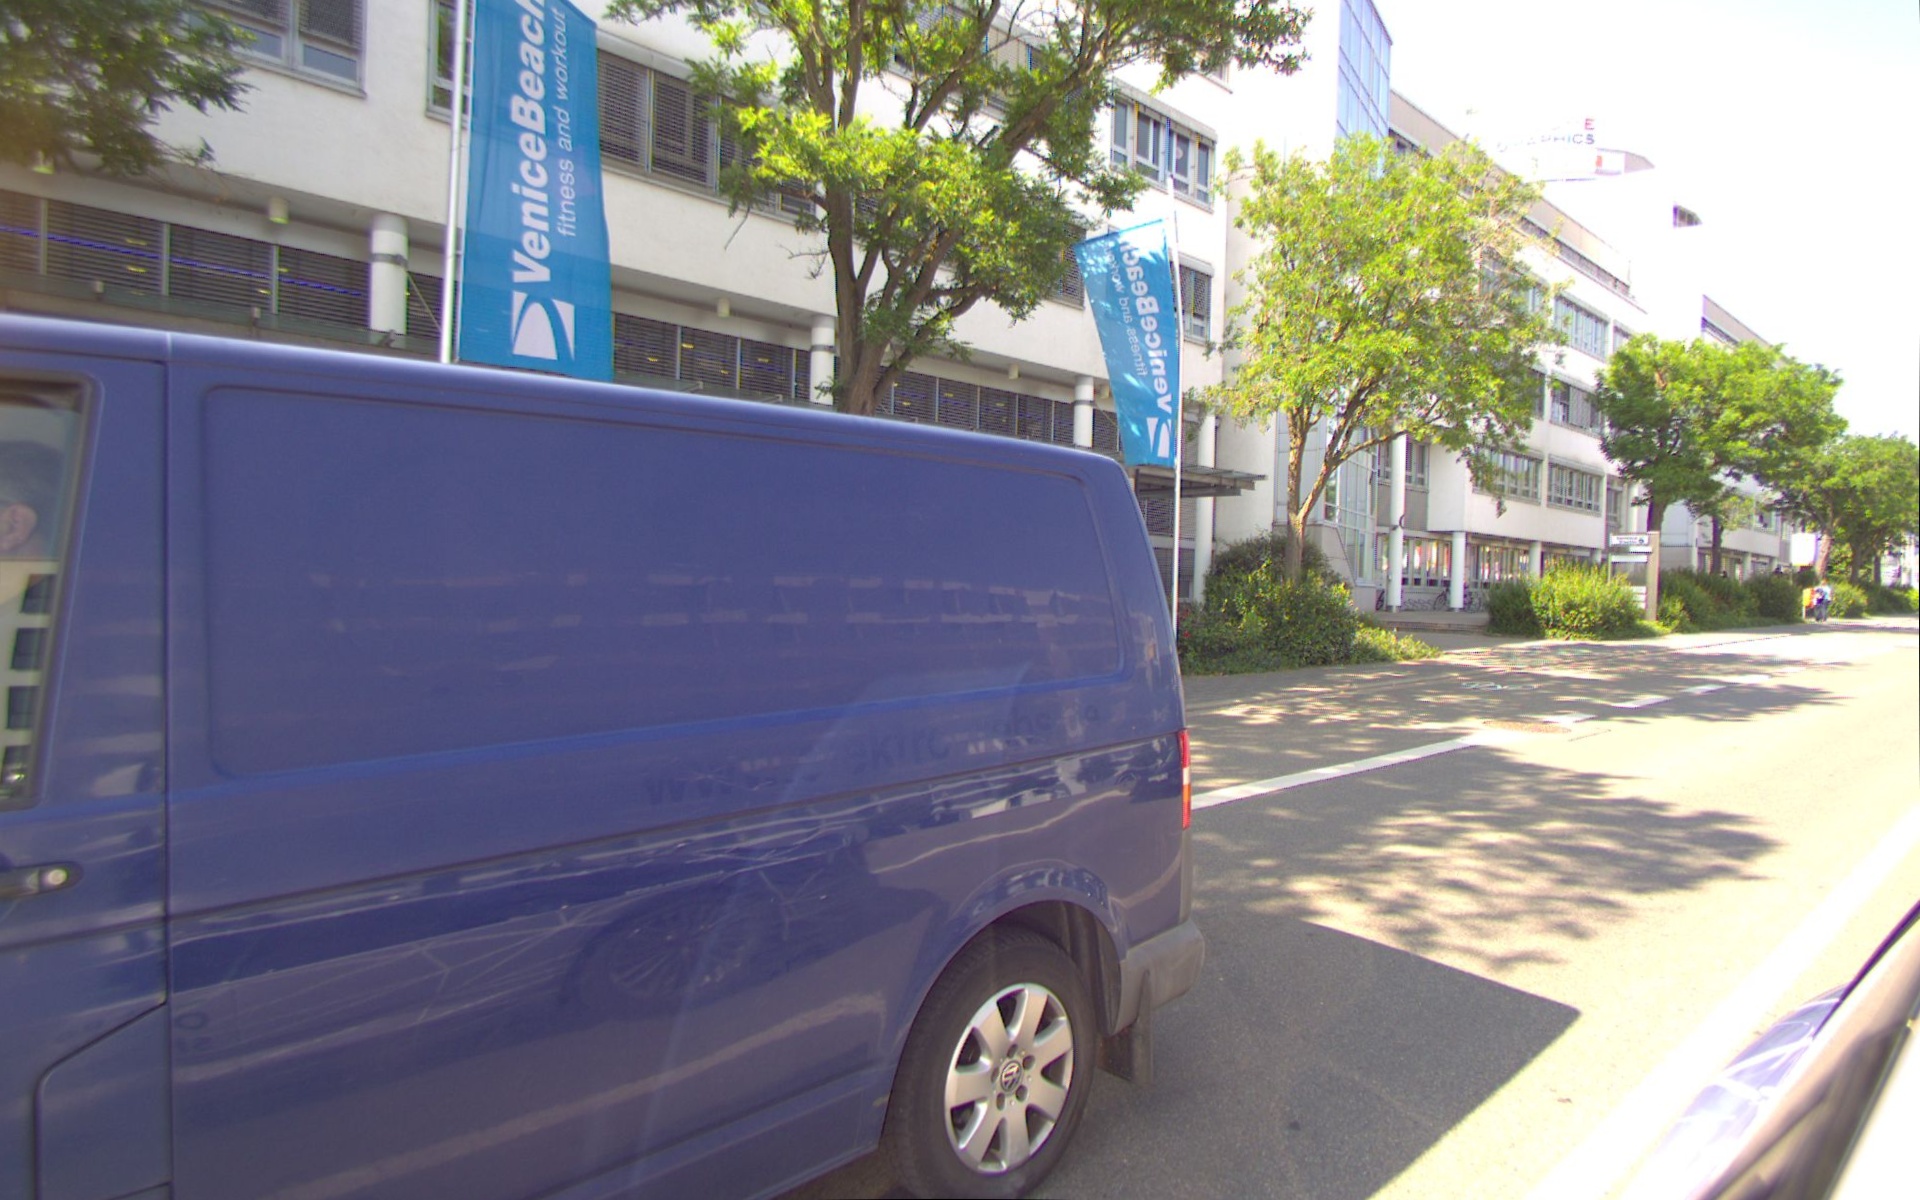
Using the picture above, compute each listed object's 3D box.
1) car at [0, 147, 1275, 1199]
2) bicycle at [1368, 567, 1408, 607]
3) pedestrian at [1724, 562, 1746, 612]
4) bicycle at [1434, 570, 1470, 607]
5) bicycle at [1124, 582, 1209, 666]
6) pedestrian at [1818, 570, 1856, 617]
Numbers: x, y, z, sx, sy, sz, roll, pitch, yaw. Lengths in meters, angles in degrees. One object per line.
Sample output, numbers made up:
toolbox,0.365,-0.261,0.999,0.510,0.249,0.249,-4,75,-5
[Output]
car,-1.562,0.410,2.195,4.804,1.972,1.998,-1,2,-40
bicycle,15.180,-0.476,35.871,1.851,1.371,0.506,-1,1,-40
pedestrian,40.224,-0.683,52.534,0.704,2.581,0.716,0,1,-41
bicycle,18.681,-0.444,38.411,1.851,1.371,0.506,-1,1,-40
bicycle,3.494,0.375,17.042,0.504,1.345,1.856,2,1,42
pedestrian,37.641,-0.296,43.420,1.266,1.909,0.943,0,4,-40
